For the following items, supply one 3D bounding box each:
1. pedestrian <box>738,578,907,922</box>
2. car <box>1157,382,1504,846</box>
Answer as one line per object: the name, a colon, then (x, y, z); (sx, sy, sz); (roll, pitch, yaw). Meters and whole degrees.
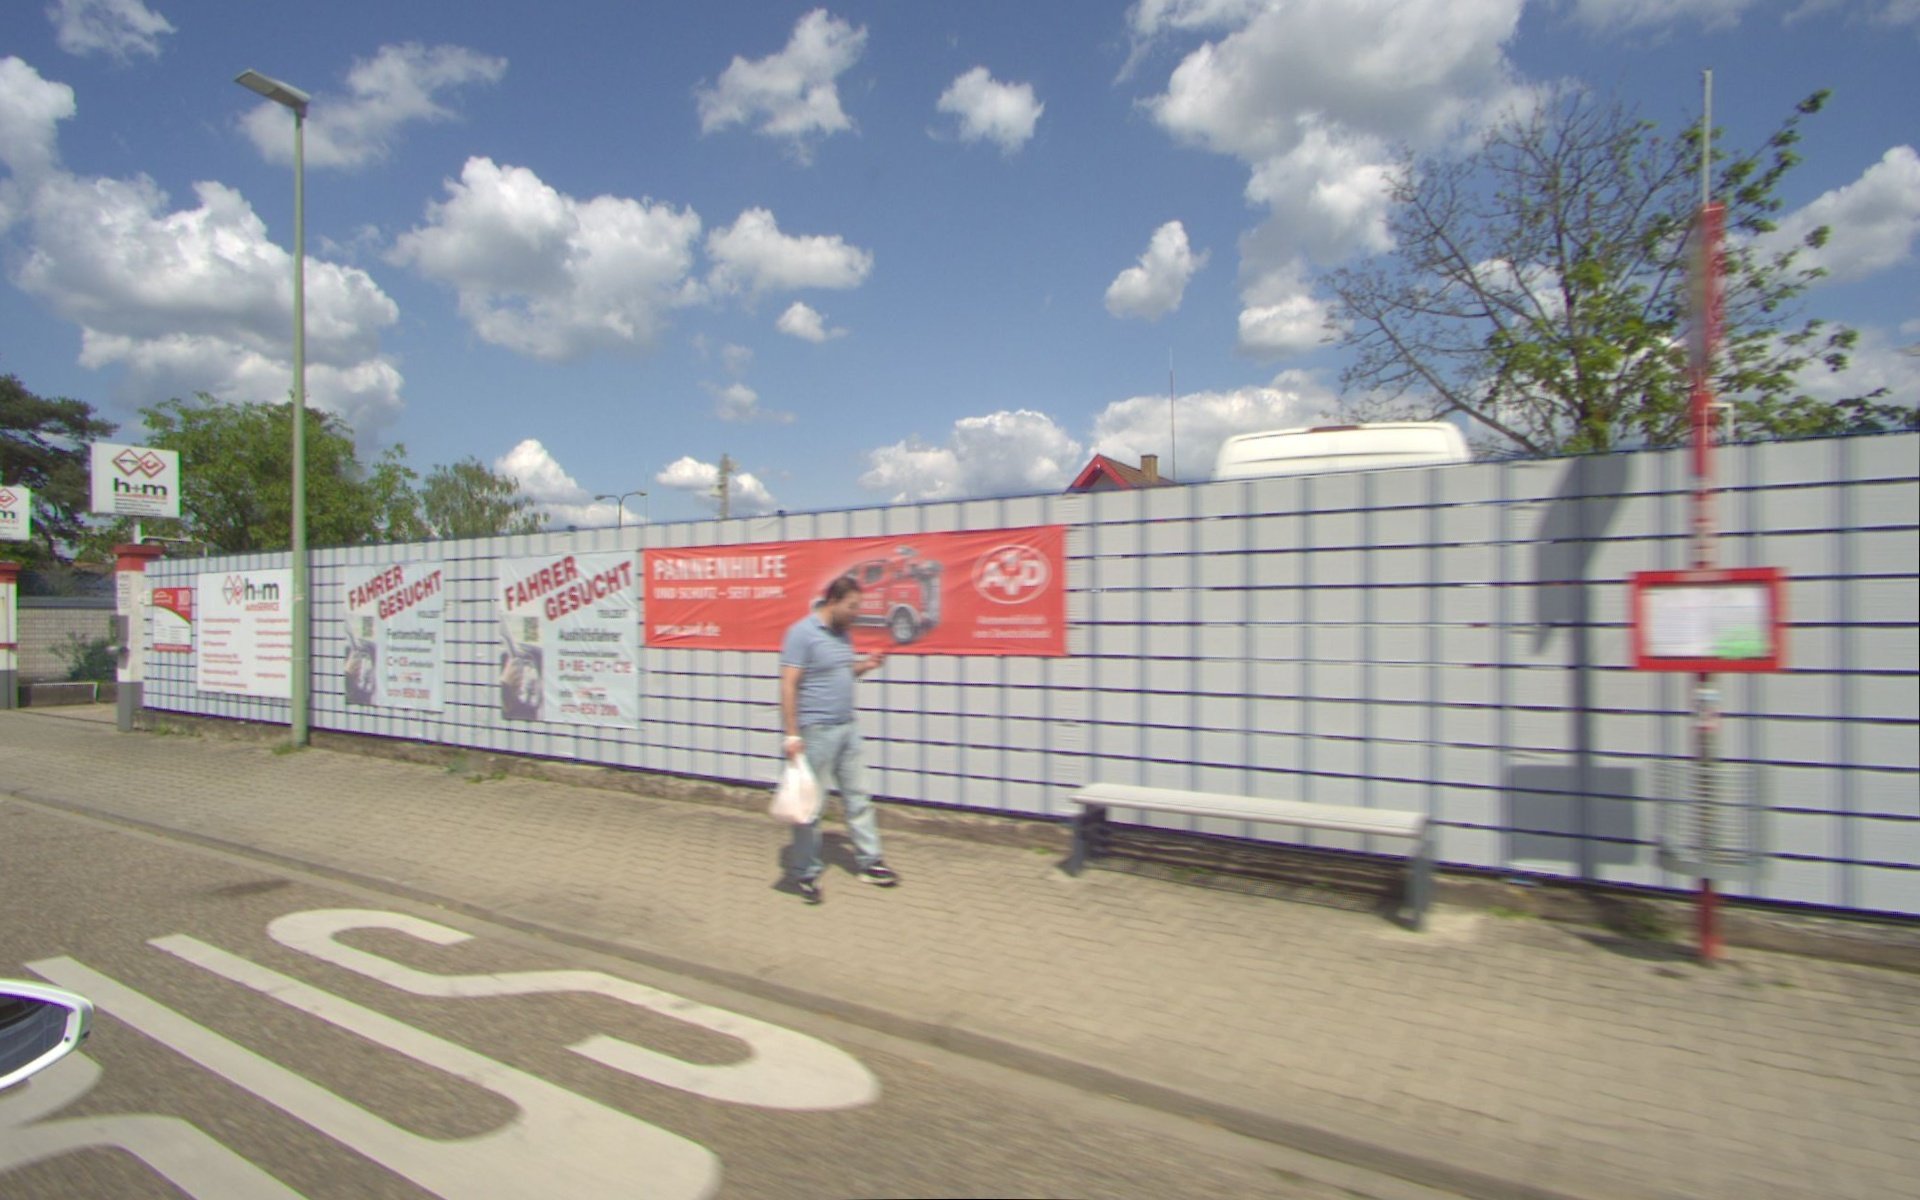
pedestrian: (-0.732, 0.763, 5.493); (0.514, 1.721, 0.714); (0, 5, 28)
car: (3.269, 0.145, 8.467); (2.039, 2.686, 4.908); (0, -1, 25)
